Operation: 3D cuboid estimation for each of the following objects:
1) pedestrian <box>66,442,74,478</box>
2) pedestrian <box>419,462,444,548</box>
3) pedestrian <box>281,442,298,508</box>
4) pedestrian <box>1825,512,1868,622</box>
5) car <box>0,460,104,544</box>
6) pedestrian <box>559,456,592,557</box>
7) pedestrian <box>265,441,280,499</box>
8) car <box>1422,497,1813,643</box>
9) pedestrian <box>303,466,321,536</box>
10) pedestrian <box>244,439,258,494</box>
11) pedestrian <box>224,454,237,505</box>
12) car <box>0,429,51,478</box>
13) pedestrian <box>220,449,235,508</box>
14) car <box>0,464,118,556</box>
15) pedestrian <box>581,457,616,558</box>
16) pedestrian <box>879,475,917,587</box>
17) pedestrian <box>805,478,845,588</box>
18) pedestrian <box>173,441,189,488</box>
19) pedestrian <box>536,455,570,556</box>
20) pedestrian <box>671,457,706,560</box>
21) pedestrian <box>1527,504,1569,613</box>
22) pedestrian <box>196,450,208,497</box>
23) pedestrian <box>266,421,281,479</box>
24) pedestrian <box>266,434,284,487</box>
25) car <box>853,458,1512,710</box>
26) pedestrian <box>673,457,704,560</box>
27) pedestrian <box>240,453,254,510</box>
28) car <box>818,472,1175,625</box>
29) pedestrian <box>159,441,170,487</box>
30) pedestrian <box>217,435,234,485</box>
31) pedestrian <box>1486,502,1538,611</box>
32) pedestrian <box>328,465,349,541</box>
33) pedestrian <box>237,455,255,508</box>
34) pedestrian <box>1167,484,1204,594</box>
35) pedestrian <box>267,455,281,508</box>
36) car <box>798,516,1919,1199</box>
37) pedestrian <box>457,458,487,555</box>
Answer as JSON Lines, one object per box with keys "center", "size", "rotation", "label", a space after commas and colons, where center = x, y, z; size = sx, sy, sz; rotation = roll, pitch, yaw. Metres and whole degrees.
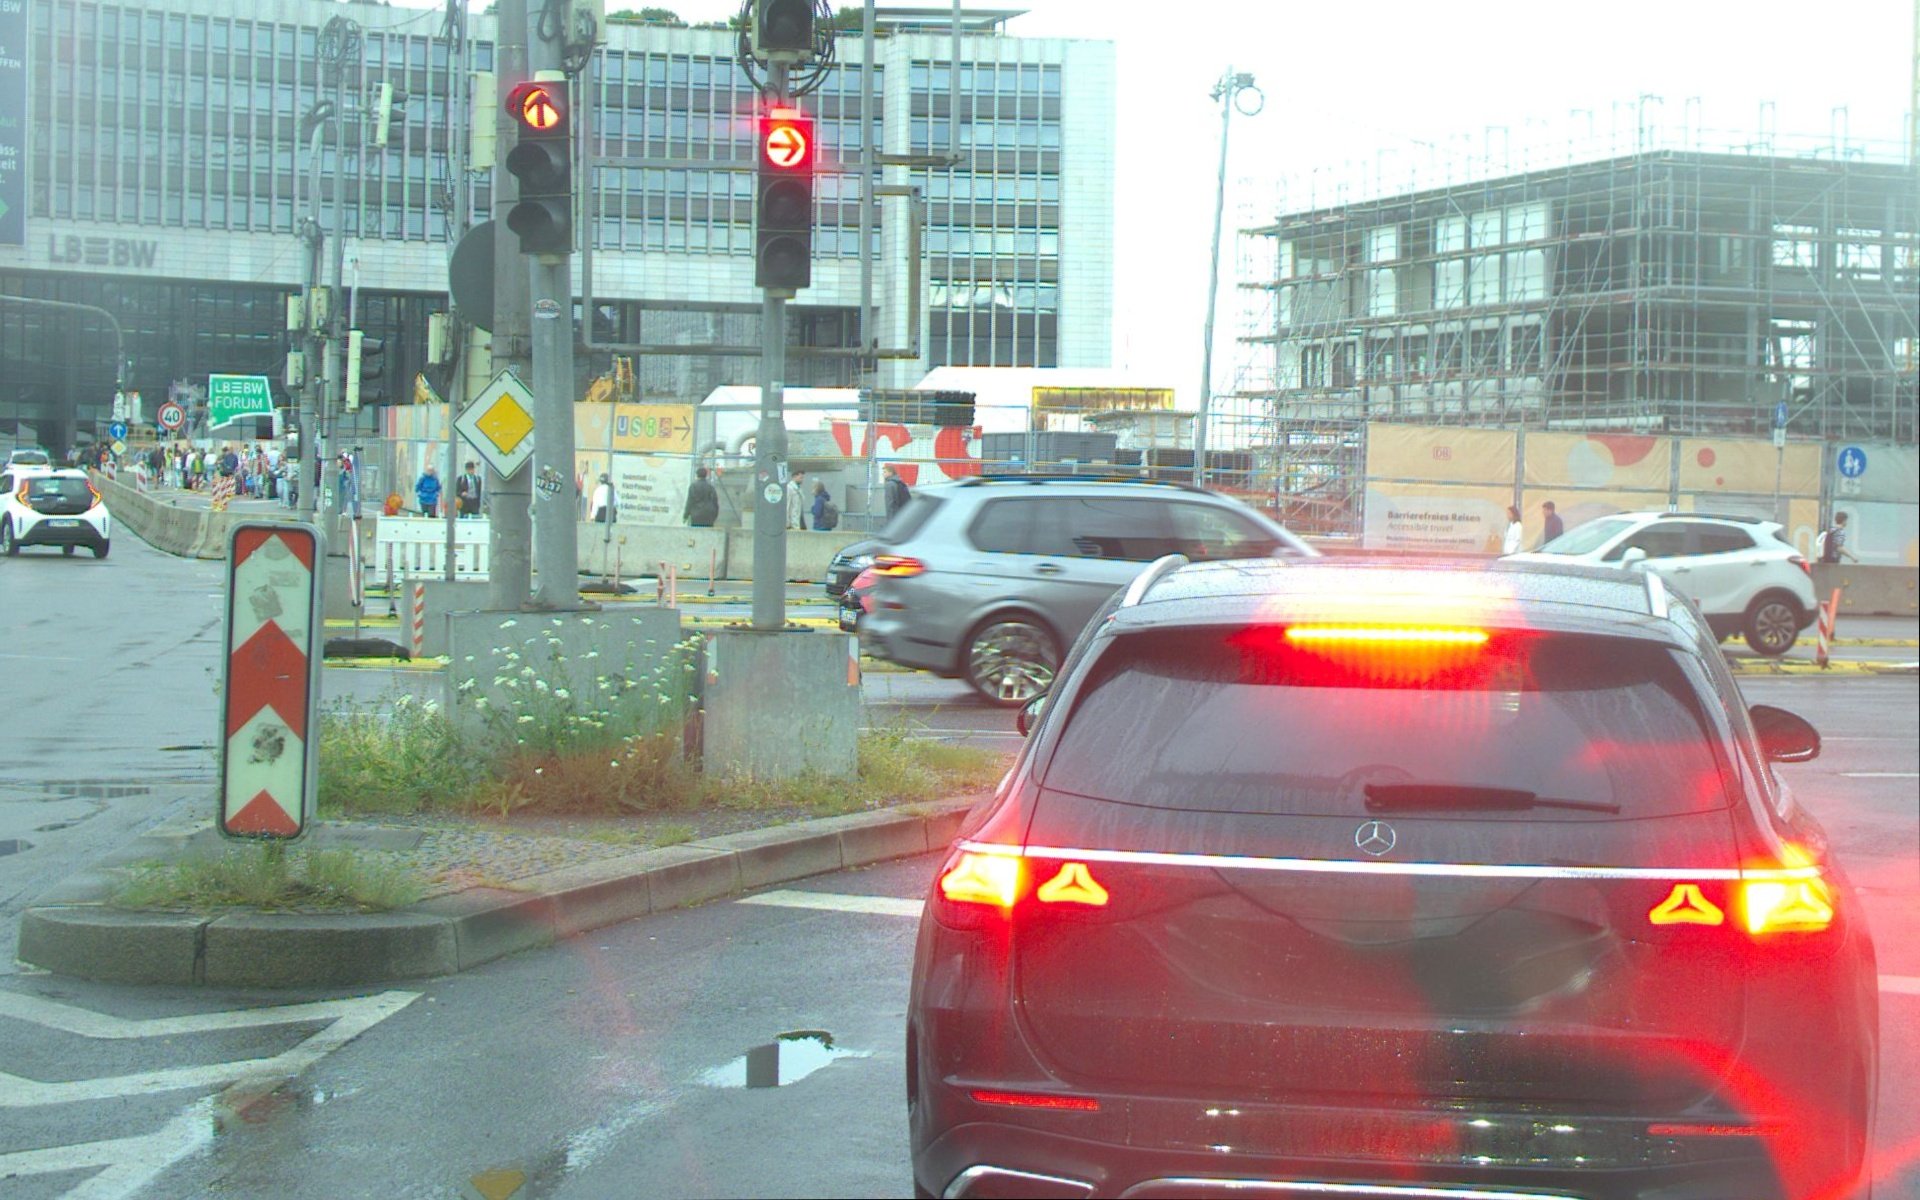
{"center": [-47.473, -7.485, 183.331], "size": [0.361, 1.891, 0.576], "rotation": [2, 0, -15], "label": "pedestrian"}
{"center": [-11.730, -2.103, 76.266], "size": [0.361, 1.891, 0.576], "rotation": [2, 0, -22], "label": "pedestrian"}
{"center": [-19.514, -3.641, 100.069], "size": [0.361, 1.891, 0.576], "rotation": [2, 0, -18], "label": "pedestrian"}
{"center": [15.428, -0.567, 59.830], "size": [0.574, 1.891, 0.362], "rotation": [2, 0, -11], "label": "pedestrian"}
{"center": [-20.647, -2.195, 77.767], "size": [1.993, 1.760, 4.420], "rotation": [2, 0, -20], "label": "car"}
{"center": [-7.254, -1.760, 64.855], "size": [0.361, 1.891, 0.576], "rotation": [1, 0, -34], "label": "pedestrian"}
{"center": [-22.743, -4.311, 113.680], "size": [0.361, 1.891, 0.576], "rotation": [2, 0, -18], "label": "pedestrian"}
{"center": [7.747, -0.348, 40.582], "size": [4.039, 1.547, 2.001], "rotation": [2, 0, -19], "label": "car"}
{"center": [-17.763, -2.716, 94.199], "size": [0.361, 1.891, 0.576], "rotation": [2, 0, -18], "label": "pedestrian"}
{"center": [-24.407, -4.595, 118.371], "size": [0.361, 1.891, 0.576], "rotation": [2, 0, -18], "label": "pedestrian"}
{"center": [-27.488, -4.535, 129.565], "size": [0.361, 1.891, 0.576], "rotation": [2, 0, -18], "label": "pedestrian"}
{"center": [-34.963, -5.478, 127.884], "size": [1.727, 1.634, 3.436], "rotation": [2, 3, -22], "label": "car"}
{"center": [-23.989, -3.967, 112.565], "size": [0.361, 1.891, 0.576], "rotation": [2, 0, -18], "label": "pedestrian"}
{"center": [-15.820, -1.528, 59.175], "size": [1.780, 1.468, 3.560], "rotation": [2, 0, -27], "label": "car"}
{"center": [-6.847, -1.750, 65.055], "size": [0.361, 1.891, 0.576], "rotation": [2, 0, -34], "label": "pedestrian"}
{"center": [-1.064, -1.175, 58.788], "size": [0.574, 1.891, 0.362], "rotation": [2, 0, 1], "label": "pedestrian"}
{"center": [-2.364, -1.173, 60.277], "size": [0.575, 1.891, 0.362], "rotation": [2, 0, 13], "label": "pedestrian"}
{"center": [-32.224, -5.597, 142.259], "size": [0.519, 1.891, 0.576], "rotation": [2, 0, -18], "label": "pedestrian"}
{"center": [-7.652, -1.776, 64.668], "size": [0.361, 1.891, 0.576], "rotation": [2, 0, -31], "label": "pedestrian"}
{"center": [-5.002, -1.683, 63.404], "size": [0.361, 1.891, 0.576], "rotation": [2, 0, -30], "label": "pedestrian"}
{"center": [10.328, -0.731, 60.363], "size": [0.574, 1.891, 0.362], "rotation": [2, 0, -11], "label": "pedestrian"}
{"center": [-30.750, -5.143, 139.501], "size": [0.361, 1.891, 0.576], "rotation": [2, 0, -18], "label": "pedestrian"}
{"center": [-23.064, -5.033, 115.452], "size": [0.361, 1.891, 0.576], "rotation": [2, 0, -18], "label": "pedestrian"}
{"center": [-25.227, -5.130, 126.538], "size": [0.519, 1.891, 0.576], "rotation": [2, 0, -18], "label": "pedestrian"}
{"center": [1.715, -0.125, 27.848], "size": [5.085, 1.791, 2.000], "rotation": [2, 0, -2], "label": "car"}
{"center": [-5.011, -1.683, 63.462], "size": [0.361, 1.891, 0.576], "rotation": [2, 0, -22], "label": "pedestrian"}
{"center": [-23.871, -3.969, 115.049], "size": [0.361, 1.891, 0.576], "rotation": [2, 0, -14], "label": "pedestrian"}
{"center": [0.439, -0.629, 42.856], "size": [3.985, 1.728, 2.001], "rotation": [2, 0, -16], "label": "car"}
{"center": [-32.855, -5.618, 141.977], "size": [0.361, 1.891, 0.576], "rotation": [2, 0, -18], "label": "pedestrian"}
{"center": [-28.300, -5.381, 132.501], "size": [0.519, 1.891, 0.576], "rotation": [2, 0, -18], "label": "pedestrian"}
{"center": [9.816, -0.775, 61.114], "size": [0.655, 1.895, 0.632], "rotation": [2, 0, -14], "label": "pedestrian"}
{"center": [-15.640, -2.431, 86.511], "size": [0.361, 1.891, 0.576], "rotation": [2, 0, -18], "label": "pedestrian"}
{"center": [-25.596, -4.242, 123.232], "size": [0.519, 1.891, 0.576], "rotation": [2, 0, -18], "label": "pedestrian"}
{"center": [3.903, -1.053, 59.578], "size": [0.574, 1.891, 0.362], "rotation": [2, 0, 2], "label": "pedestrian"}
{"center": [-24.783, -4.267, 124.170], "size": [0.361, 1.891, 0.576], "rotation": [2, 0, -18], "label": "pedestrian"}
{"center": [0.845, 0.661, 7.707], "size": [1.891, 1.538, 3.992], "rotation": [2, 0, 5], "label": "car"}
{"center": [-9.651, -1.838, 67.973], "size": [0.361, 1.891, 0.576], "rotation": [2, 0, -26], "label": "pedestrian"}
